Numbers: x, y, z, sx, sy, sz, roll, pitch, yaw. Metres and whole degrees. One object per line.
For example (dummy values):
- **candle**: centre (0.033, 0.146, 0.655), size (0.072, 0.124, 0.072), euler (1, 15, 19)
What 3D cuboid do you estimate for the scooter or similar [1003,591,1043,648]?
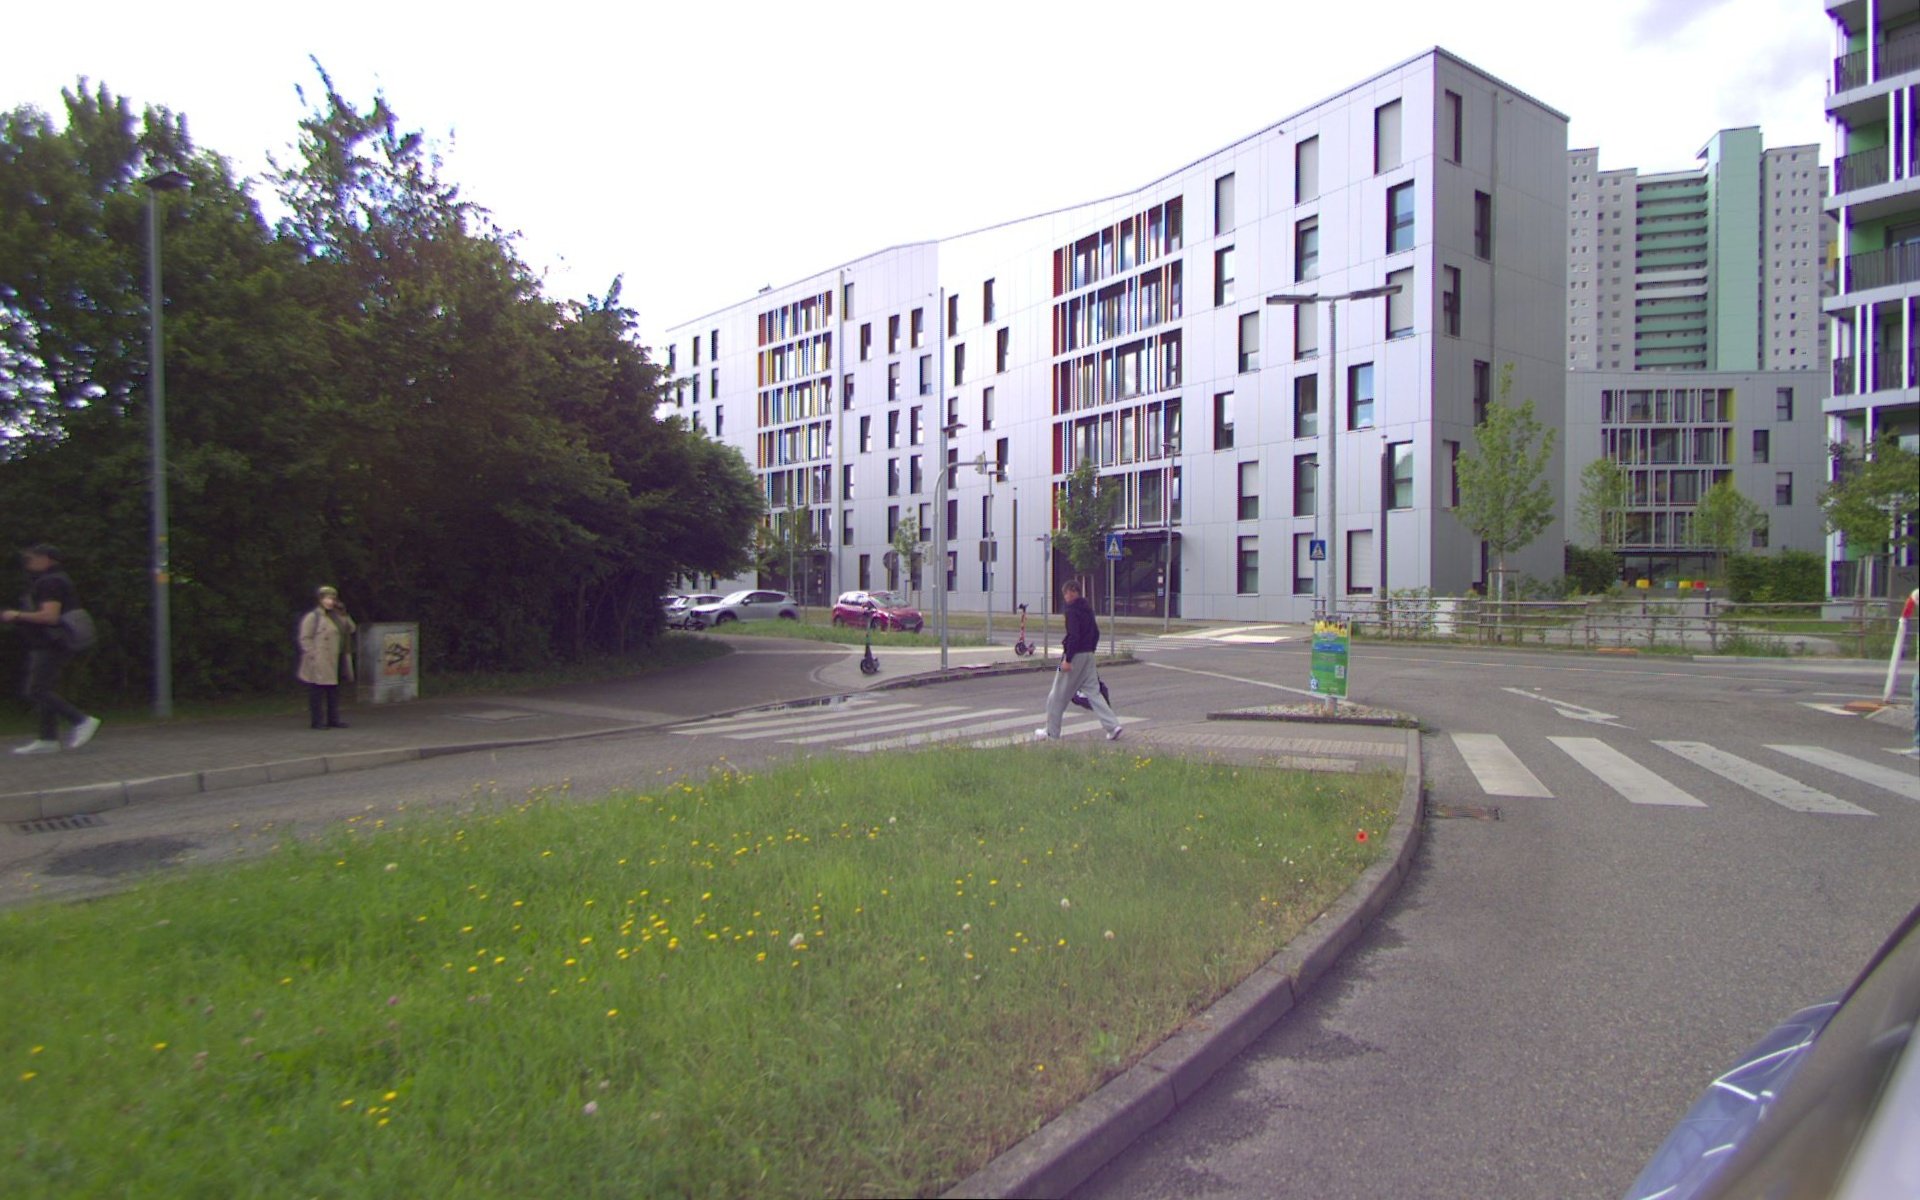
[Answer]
- **scooter or similar**: centre (1.554, 0.460, 24.834), size (0.565, 1.329, 1.515), euler (0, 1, 21)

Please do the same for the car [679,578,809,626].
- **car**: centre (-8.462, 0.097, 39.956), size (4.582, 1.774, 2.066), euler (2, -1, -42)

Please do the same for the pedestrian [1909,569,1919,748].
- **pedestrian**: centre (9.286, 0.535, 9.269), size (0.685, 1.653, 0.723), euler (-2, 2, -32)

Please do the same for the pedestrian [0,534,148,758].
- **pedestrian**: centre (-7.995, 0.376, 8.967), size (0.849, 1.845, 0.975), euler (0, -1, 27)

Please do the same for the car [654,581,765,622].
- **car**: centre (-10.297, 0.061, 41.796), size (4.094, 1.606, 1.794), euler (0, 0, -40)

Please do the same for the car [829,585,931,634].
- **car**: centre (-3.116, 0.313, 38.837), size (1.899, 1.651, 4.241), euler (-2, 3, -37)

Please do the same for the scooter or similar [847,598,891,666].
- **scooter or similar**: centre (-1.863, 0.641, 20.880), size (0.611, 1.290, 1.493), euler (0, 2, 6)

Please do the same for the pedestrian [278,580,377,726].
- **pedestrian**: centre (-7.279, 0.576, 11.656), size (0.682, 1.614, 0.762), euler (1, 1, 33)

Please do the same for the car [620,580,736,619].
- **car**: centre (-12.115, -0.006, 43.634), size (4.411, 1.582, 1.909), euler (2, -1, -40)

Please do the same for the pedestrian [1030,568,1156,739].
- **pedestrian**: centre (1.474, 0.537, 11.189), size (1.056, 1.769, 0.944), euler (0, 1, 39)
